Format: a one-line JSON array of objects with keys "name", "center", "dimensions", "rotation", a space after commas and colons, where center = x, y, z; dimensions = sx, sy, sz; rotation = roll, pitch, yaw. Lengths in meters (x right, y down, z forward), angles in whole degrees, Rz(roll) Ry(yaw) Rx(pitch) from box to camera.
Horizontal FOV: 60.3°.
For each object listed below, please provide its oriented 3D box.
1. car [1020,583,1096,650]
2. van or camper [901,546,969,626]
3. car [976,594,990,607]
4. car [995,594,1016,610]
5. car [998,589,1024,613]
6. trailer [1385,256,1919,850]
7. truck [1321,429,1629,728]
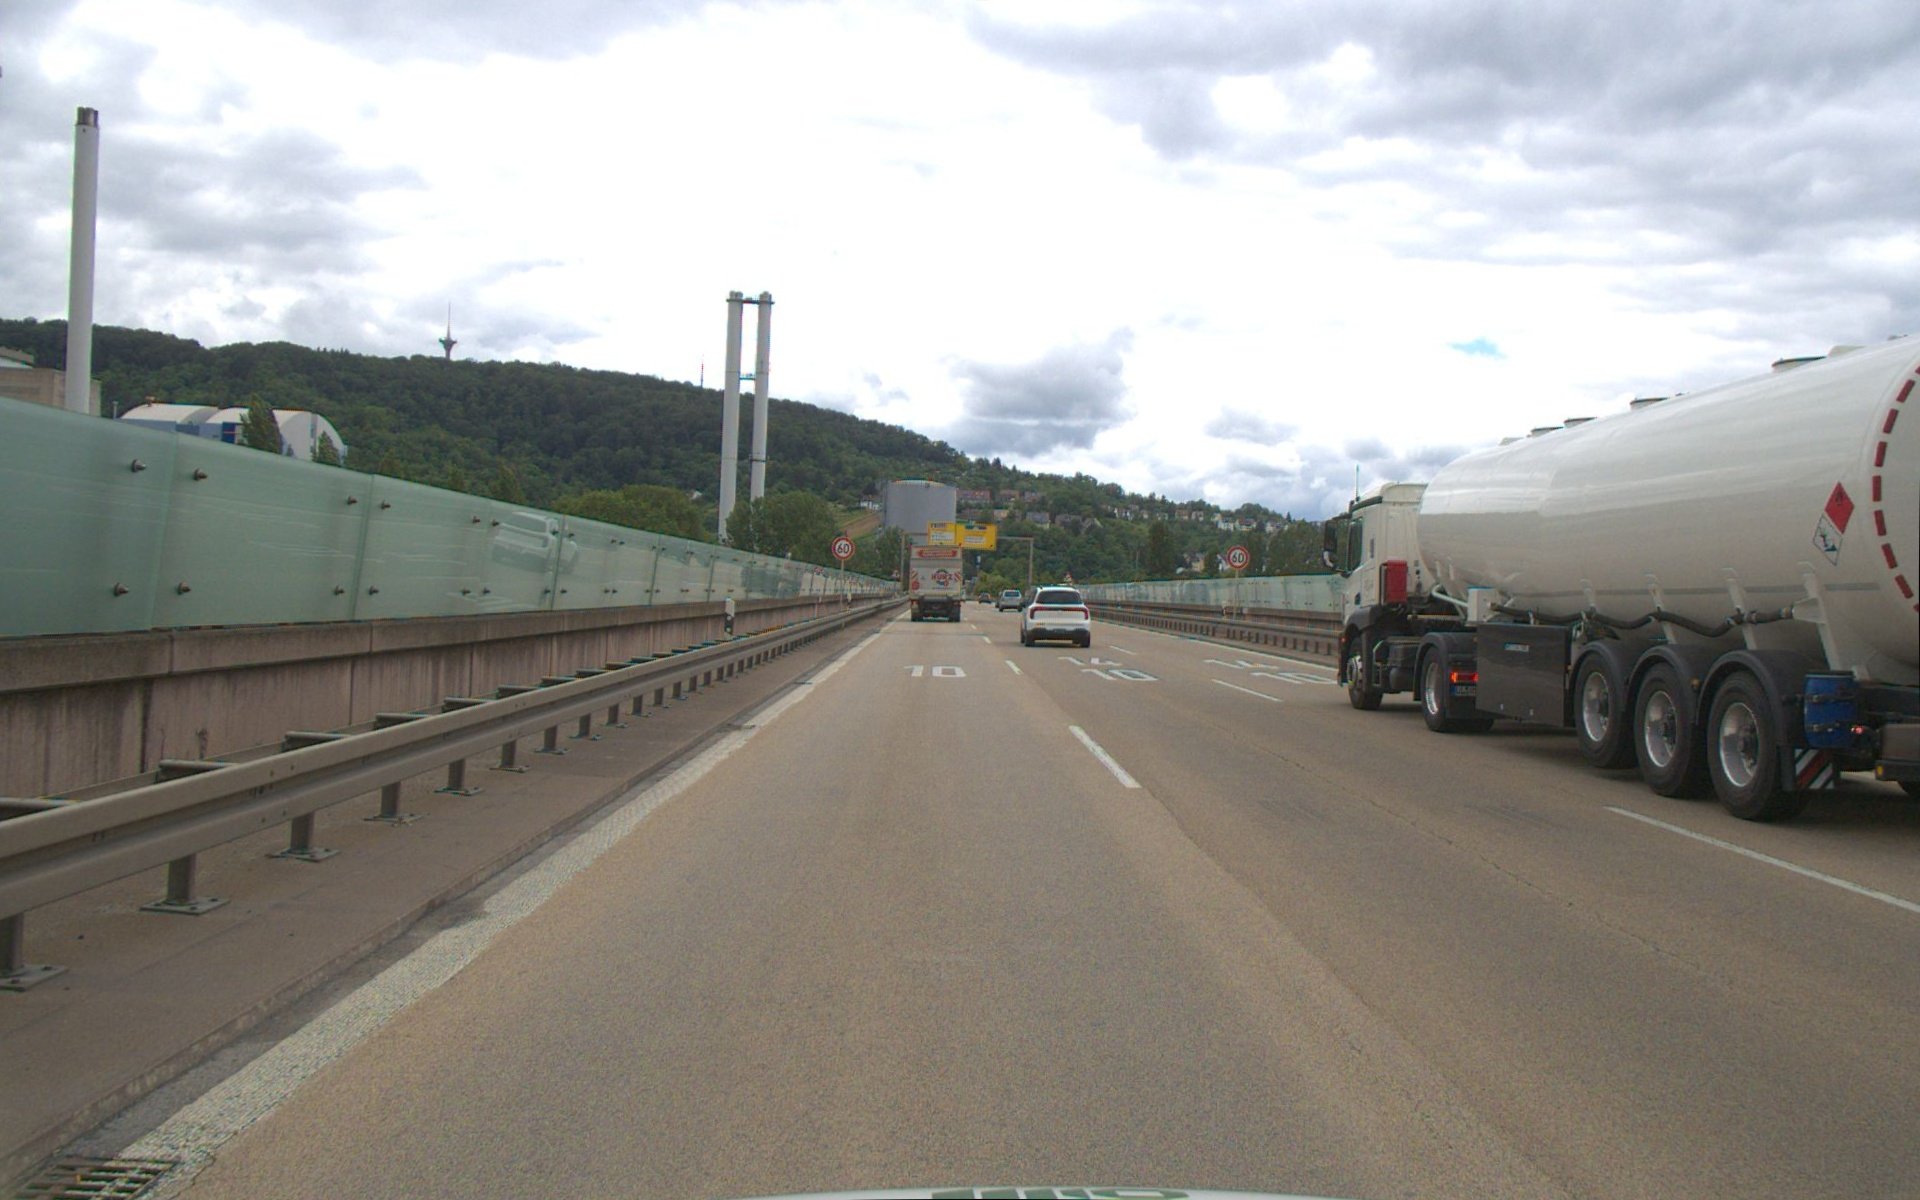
[{"name": "car", "center": [2.782, 0.434, 47.732], "dimensions": [1.884, 1.816, 4.113], "rotation": [1, 0, 0]}, {"name": "van or camper", "center": [-1.123, -0.636, 81.022], "dimensions": [3.058, 3.642, 8.550], "rotation": [1, 0, 0]}, {"name": "car", "center": [3.352, 0.128, 240.071], "dimensions": [1.884, 1.816, 4.113], "rotation": [1, 0, 0]}, {"name": "car", "center": [4.339, 0.199, 156.298], "dimensions": [1.884, 1.459, 4.114], "rotation": [1, 0, 2]}, {"name": "car", "center": [4.046, 0.099, 130.824], "dimensions": [1.884, 1.816, 4.113], "rotation": [1, 0, 0]}, {"name": "trailer", "center": [6.822, -0.256, 15.669], "dimensions": [2.596, 3.605, 11.218], "rotation": [1, 0, 0]}, {"name": "truck", "center": [6.776, -0.268, 22.488], "dimensions": [2.577, 3.575, 4.903], "rotation": [1, 0, 0]}]
